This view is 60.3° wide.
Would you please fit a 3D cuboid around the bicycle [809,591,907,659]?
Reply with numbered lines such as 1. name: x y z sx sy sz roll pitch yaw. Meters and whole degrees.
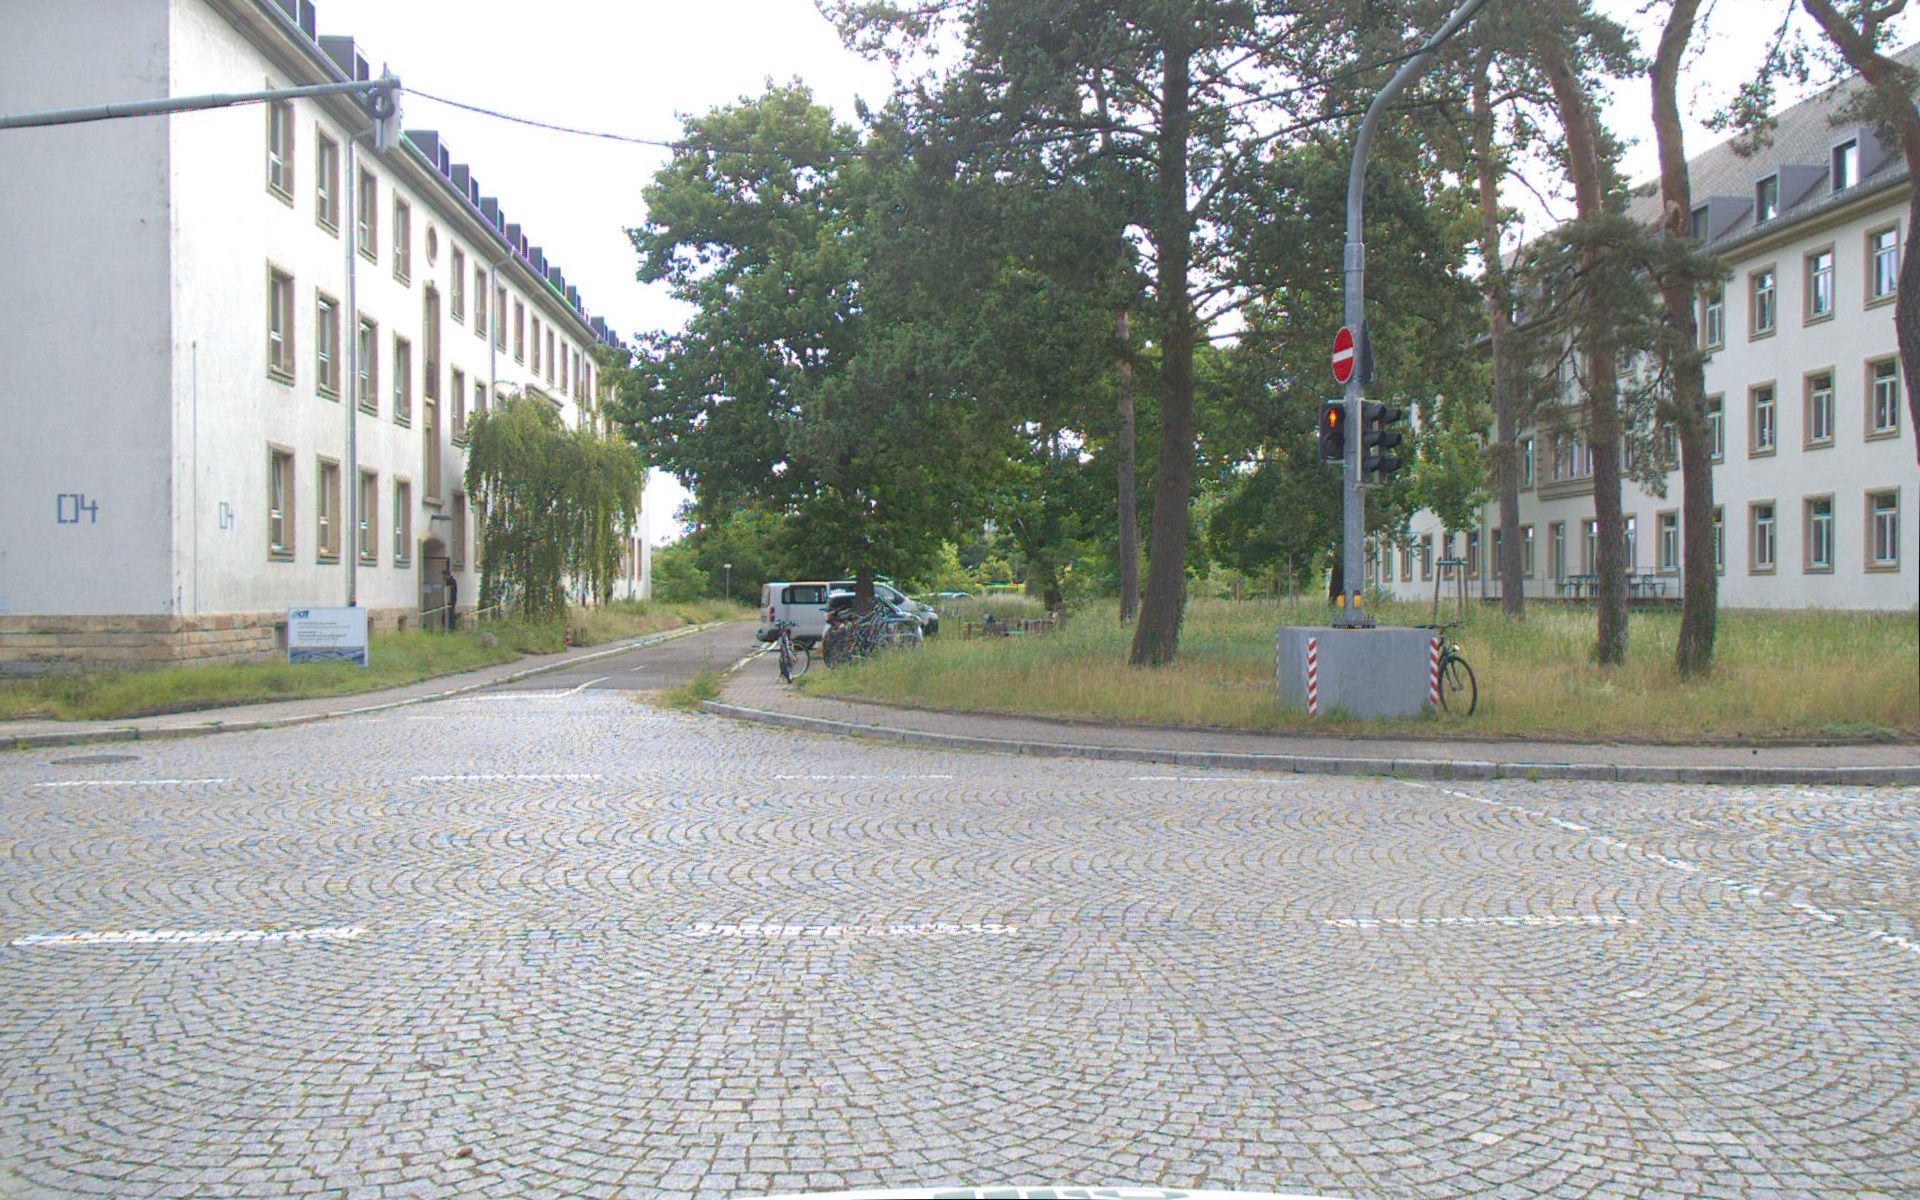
1. bicycle: -2.126 0.521 34.503 2.028 1.402 0.619 0 0 -3

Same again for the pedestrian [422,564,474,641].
1. pedestrian: -13.863 0.063 44.776 1.064 2.049 1.022 0 0 1

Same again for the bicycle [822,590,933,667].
1. bicycle: -1.534 0.522 30.831 2.028 1.402 0.619 0 0 -3

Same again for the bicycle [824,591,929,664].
1. bicycle: -1.622 0.526 32.249 2.028 1.402 0.619 0 0 -3

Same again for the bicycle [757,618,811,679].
1. bicycle: -2.991 0.813 28.262 0.605 0.980 2.077 0 0 3

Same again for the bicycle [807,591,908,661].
1. bicycle: -2.091 0.518 33.757 2.028 1.402 0.619 0 0 -3

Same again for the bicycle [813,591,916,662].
1. bicycle: -1.895 0.519 33.031 2.028 1.402 0.619 0 0 -3

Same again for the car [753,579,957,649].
1. car: -3.059 0.369 47.975 5.600 1.944 2.220 0 0 -16

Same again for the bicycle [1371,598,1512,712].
1. bicycle: 5.298 0.576 18.331 0.891 1.197 1.872 0 0 -5

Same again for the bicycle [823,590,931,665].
1. bicycle: -1.578 0.523 31.454 2.028 1.402 0.619 0 0 -3

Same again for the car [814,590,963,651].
1. car: -1.966 0.530 44.674 3.859 1.571 1.996 0 0 -9

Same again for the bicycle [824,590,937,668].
1. bicycle: -1.448 0.522 30.165 2.028 1.402 0.619 0 0 -3
